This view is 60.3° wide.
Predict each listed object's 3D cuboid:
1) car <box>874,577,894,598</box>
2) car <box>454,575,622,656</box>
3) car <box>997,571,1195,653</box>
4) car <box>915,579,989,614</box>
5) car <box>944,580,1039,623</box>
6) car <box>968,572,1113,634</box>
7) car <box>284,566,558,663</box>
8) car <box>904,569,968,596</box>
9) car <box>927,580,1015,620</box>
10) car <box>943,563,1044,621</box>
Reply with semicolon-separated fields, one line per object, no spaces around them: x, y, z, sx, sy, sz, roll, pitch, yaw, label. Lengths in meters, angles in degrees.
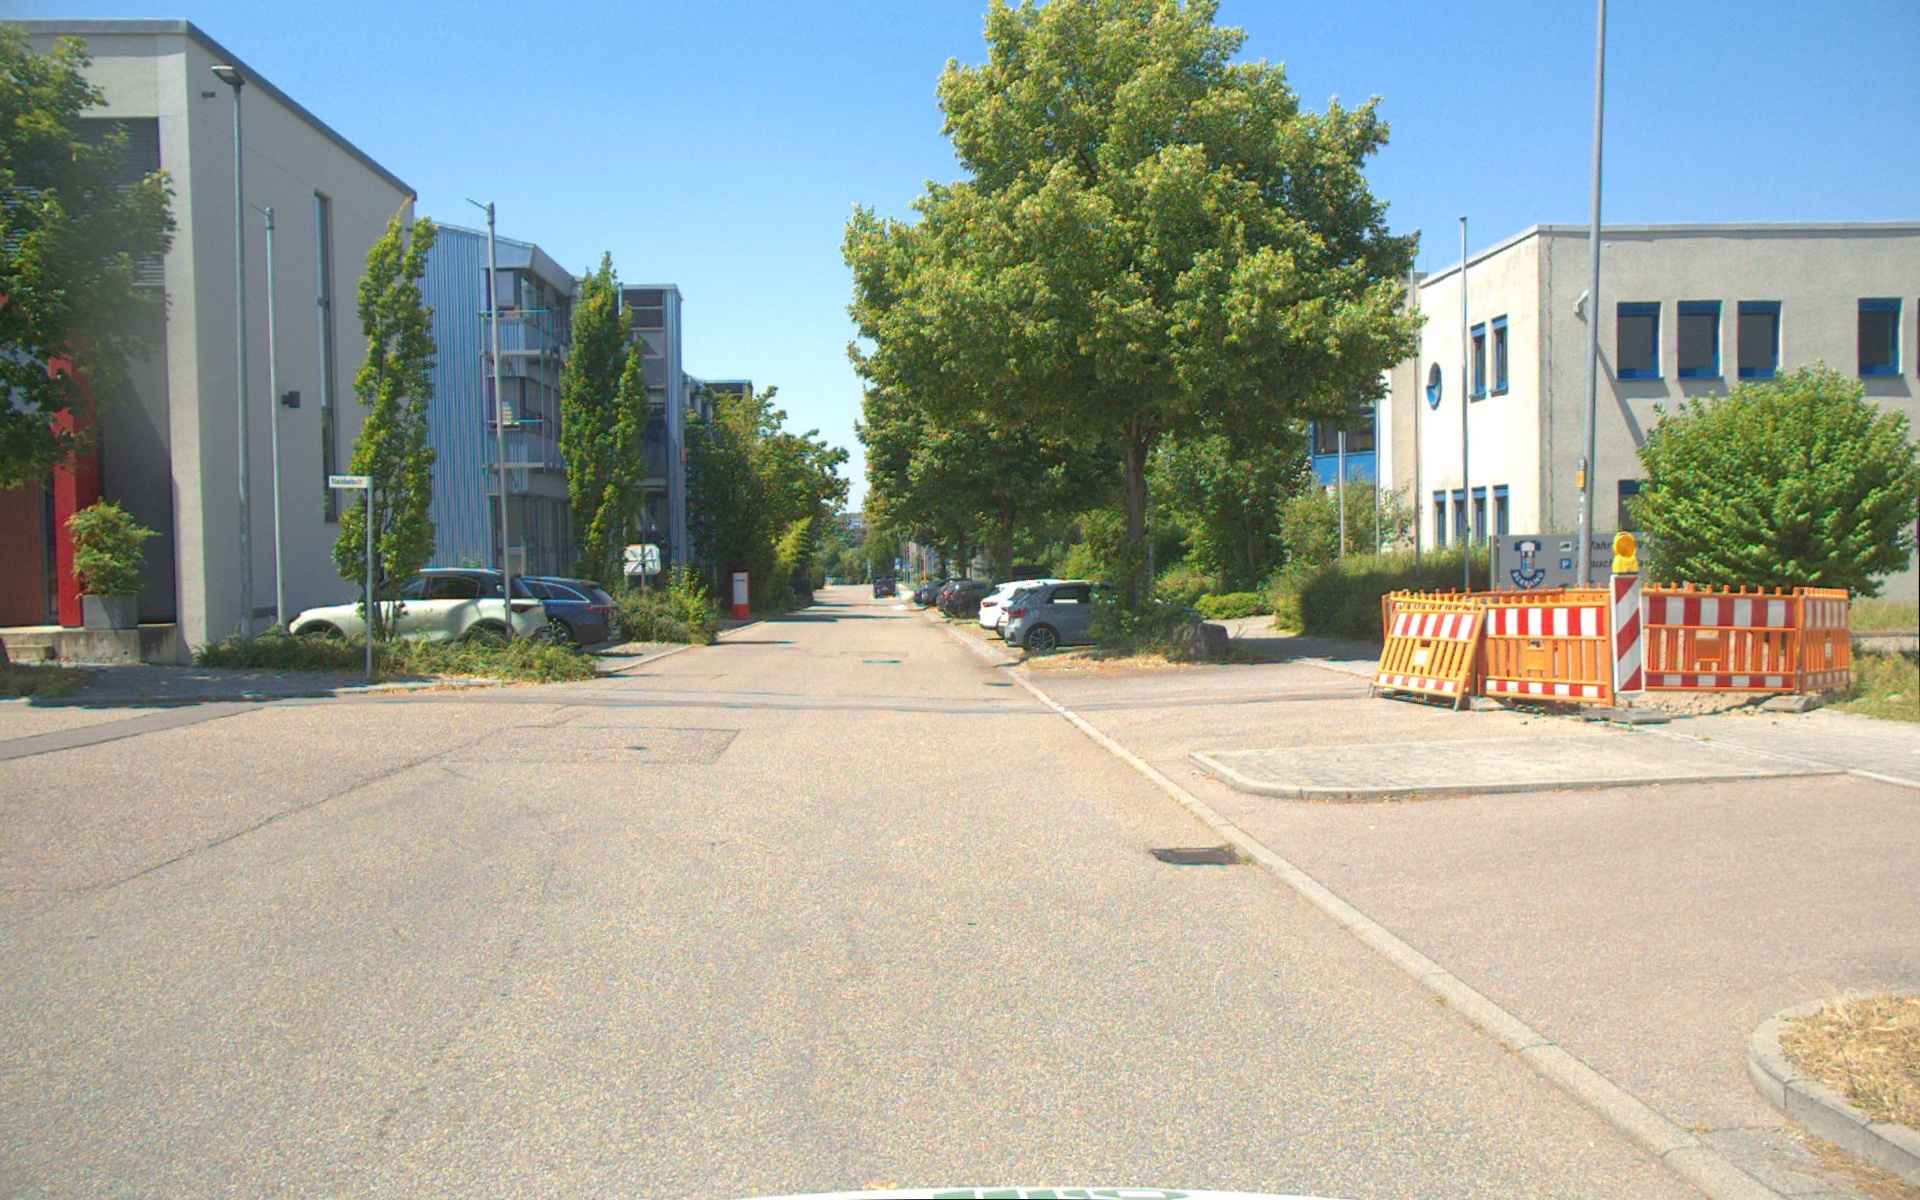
-6.568;-1.075;143.401;1.725;1.786;3.943;0;0;-2;car
-8.091;0.297;31.886;3.002;1.504;1.290;1;0;-10;car
2.676;0.223;32.926;3.610;1.378;1.643;-3;1;-8;car
-0.468;-0.201;92.429;3.861;1.866;1.763;0;4;-11;car
1.219;0.058;65.011;3.648;1.655;1.813;0;0;-3;car
2.048;0.079;42.605;3.450;1.378;1.535;-3;1;-8;car
-8.744;0.230;27.103;3.967;1.521;1.727;0;0;-6;car
-1.524;-1.125;104.463;3.861;1.604;1.763;0;4;-11;car
0.435;-0.003;70.260;3.648;1.655;1.813;0;0;-3;car
1.213;-0.304;61.693;3.648;2.147;1.813;0;0;-3;car
